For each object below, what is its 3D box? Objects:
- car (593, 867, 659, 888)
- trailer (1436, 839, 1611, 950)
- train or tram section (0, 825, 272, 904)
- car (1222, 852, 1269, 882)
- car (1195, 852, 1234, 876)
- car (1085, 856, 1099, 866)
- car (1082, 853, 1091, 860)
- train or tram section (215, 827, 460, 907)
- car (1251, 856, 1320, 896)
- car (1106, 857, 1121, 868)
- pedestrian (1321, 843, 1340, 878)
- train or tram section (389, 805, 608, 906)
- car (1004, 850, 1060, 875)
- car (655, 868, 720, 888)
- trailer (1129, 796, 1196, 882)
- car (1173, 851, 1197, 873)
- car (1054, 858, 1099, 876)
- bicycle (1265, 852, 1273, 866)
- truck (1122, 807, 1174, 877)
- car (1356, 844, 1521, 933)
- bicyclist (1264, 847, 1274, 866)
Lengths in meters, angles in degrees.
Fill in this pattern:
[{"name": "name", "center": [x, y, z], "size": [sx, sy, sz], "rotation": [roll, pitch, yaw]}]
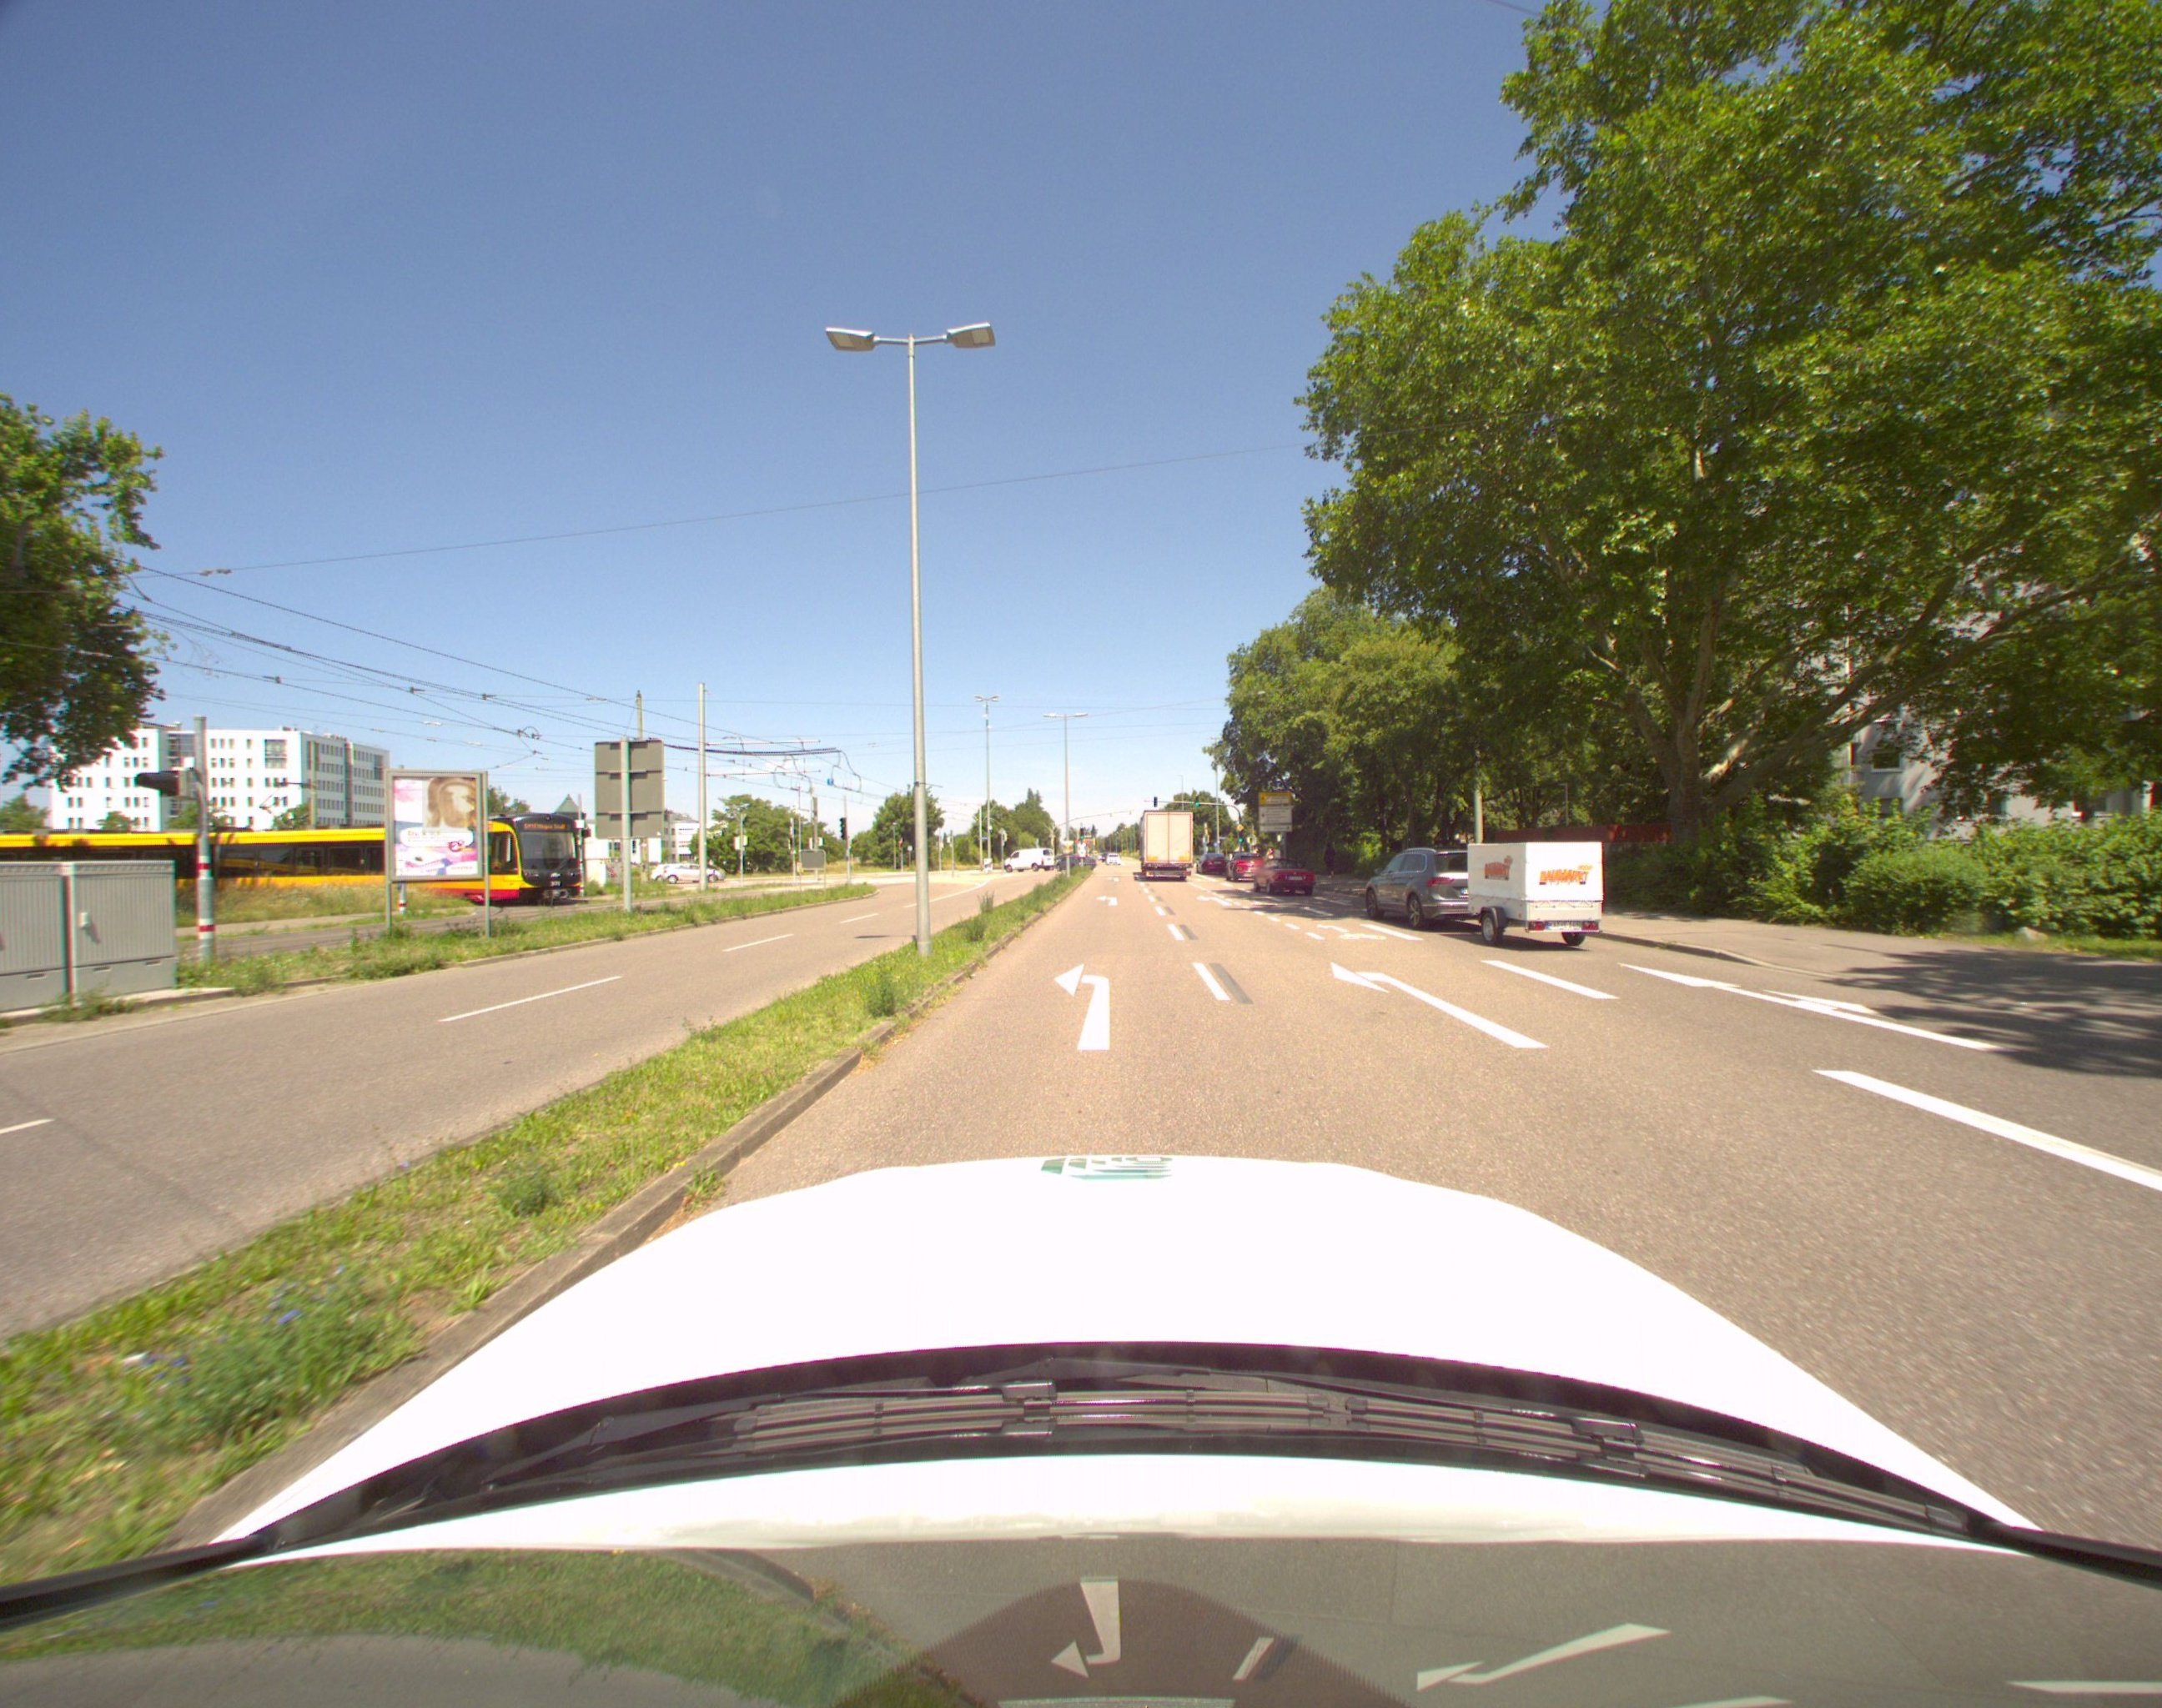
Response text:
[{"name": "car", "center": [-34.366, 1.782, 61.579], "size": [4.292, 1.412, 1.881], "rotation": [-1, 1, -29]}, {"name": "trailer", "center": [7.318, 0.617, 13.739], "size": [1.463, 1.669, 2.857], "rotation": [0, 0, 1]}, {"name": "train or tram section", "center": [-46.203, 0.479, 37.667], "size": [12.721, 3.466, 3.033], "rotation": [0, 0, -13]}, {"name": "car", "center": [8.804, 0.681, 43.790], "size": [1.851, 1.549, 3.888], "rotation": [0, 0, 1]}, {"name": "car", "center": [9.214, 0.667, 56.451], "size": [1.987, 1.503, 4.502], "rotation": [-1, 0, 0]}, {"name": "car", "center": [1.511, 0.919, 113.005], "size": [1.851, 1.373, 4.157], "rotation": [0, 0, 1]}, {"name": "car", "center": [1.086, 0.531, 163.461], "size": [1.851, 1.373, 4.157], "rotation": [0, 0, 1]}, {"name": "train or tram section", "center": [-34.669, 0.534, 38.056], "size": [10.122, 3.466, 3.056], "rotation": [0, 0, 12]}, {"name": "car", "center": [7.648, 0.766, 30.825], "size": [1.649, 1.396, 4.268], "rotation": [0, 0, 1]}, {"name": "car", "center": [4.070, 1.109, 103.745], "size": [1.851, 1.373, 4.157], "rotation": [0, 0, 1]}, {"name": "pedestrian", "center": [13.285, 0.350, 43.429], "size": [0.750, 1.816, 0.693], "rotation": [-2, 0, 1]}, {"name": "train or tram section", "center": [-23.991, 0.018, 33.073], "size": [13.120, 3.466, 3.066], "rotation": [0, 0, 35]}, {"name": "car", "center": [-4.347, 0.711, 71.912], "size": [4.686, 2.111, 2.013], "rotation": [0, 1, 36]}, {"name": "car", "center": [-29.223, 1.737, 60.465], "size": [4.292, 1.293, 1.982], "rotation": [-1, 1, -29]}, {"name": "trailer", "center": [4.471, -0.784, 46.511], "size": [2.819, 4.421, 8.746], "rotation": [0, 0, -1]}, {"name": "car", "center": [10.182, 0.795, 79.815], "size": [1.884, 2.121, 3.888], "rotation": [0, 0, 1]}, {"name": "car", "center": [-0.405, 1.015, 66.240], "size": [1.903, 1.372, 4.390], "rotation": [0, 0, -28]}, {"name": "bicycle", "center": [17.110, 0.446, 74.167], "size": [0.640, 1.304, 1.631], "rotation": [-4, -1, 14]}, {"name": "truck", "center": [4.414, -0.807, 55.014], "size": [2.818, 4.344, 8.283], "rotation": [1, 1, 0]}, {"name": "car", "center": [7.411, 0.648, 17.394], "size": [1.693, 1.654, 4.400], "rotation": [0, 0, 1]}, {"name": "bicyclist", "center": [17.089, 0.242, 74.063], "size": [0.796, 1.727, 0.681], "rotation": [-4, -1, 13]}]
